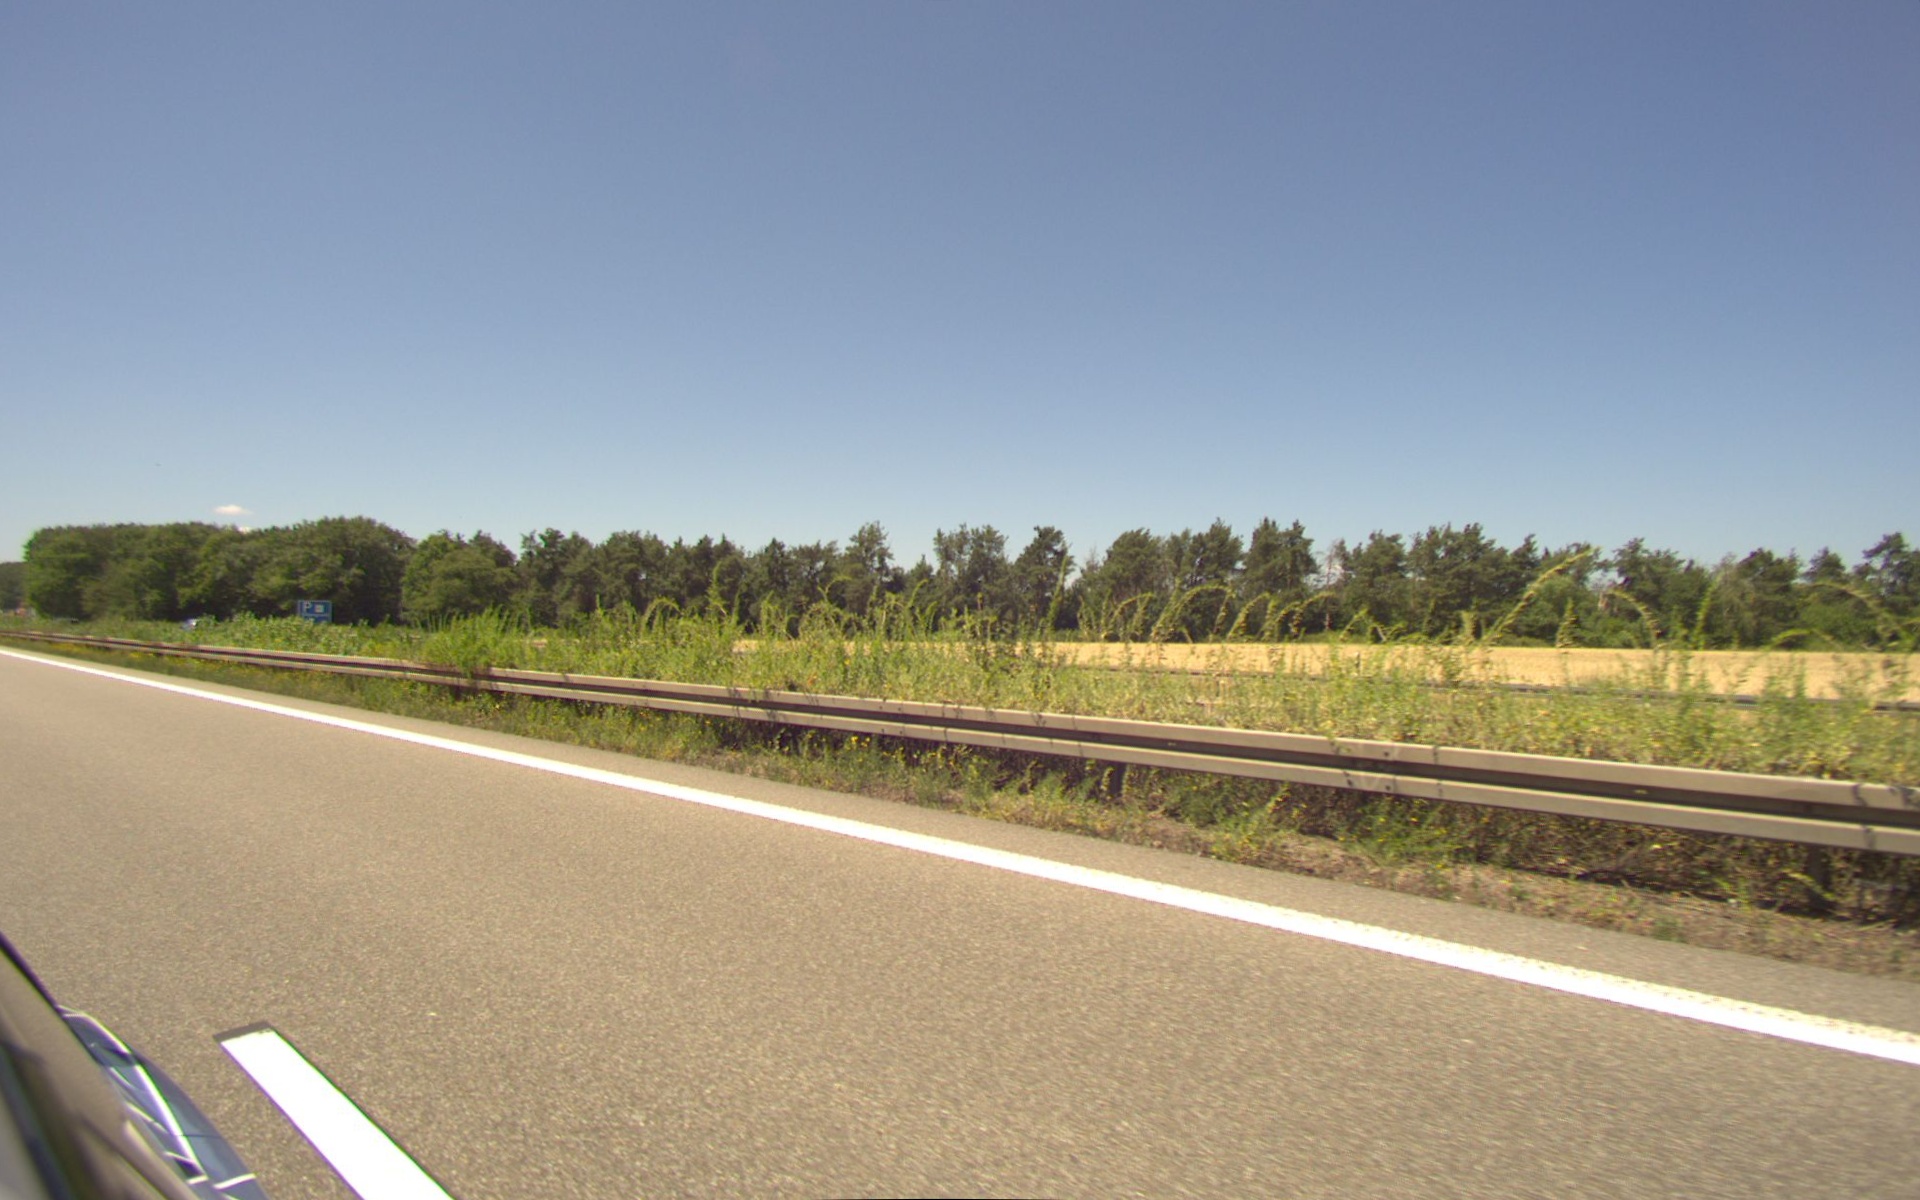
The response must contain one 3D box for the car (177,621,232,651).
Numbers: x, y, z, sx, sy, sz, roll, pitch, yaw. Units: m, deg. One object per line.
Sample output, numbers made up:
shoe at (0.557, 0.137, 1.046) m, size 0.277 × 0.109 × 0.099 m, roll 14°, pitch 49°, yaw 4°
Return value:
car at (-46.761, 2.178, 62.626) m, size 4.429 × 1.792 × 1.828 m, roll -1°, pitch -2°, yaw 42°
